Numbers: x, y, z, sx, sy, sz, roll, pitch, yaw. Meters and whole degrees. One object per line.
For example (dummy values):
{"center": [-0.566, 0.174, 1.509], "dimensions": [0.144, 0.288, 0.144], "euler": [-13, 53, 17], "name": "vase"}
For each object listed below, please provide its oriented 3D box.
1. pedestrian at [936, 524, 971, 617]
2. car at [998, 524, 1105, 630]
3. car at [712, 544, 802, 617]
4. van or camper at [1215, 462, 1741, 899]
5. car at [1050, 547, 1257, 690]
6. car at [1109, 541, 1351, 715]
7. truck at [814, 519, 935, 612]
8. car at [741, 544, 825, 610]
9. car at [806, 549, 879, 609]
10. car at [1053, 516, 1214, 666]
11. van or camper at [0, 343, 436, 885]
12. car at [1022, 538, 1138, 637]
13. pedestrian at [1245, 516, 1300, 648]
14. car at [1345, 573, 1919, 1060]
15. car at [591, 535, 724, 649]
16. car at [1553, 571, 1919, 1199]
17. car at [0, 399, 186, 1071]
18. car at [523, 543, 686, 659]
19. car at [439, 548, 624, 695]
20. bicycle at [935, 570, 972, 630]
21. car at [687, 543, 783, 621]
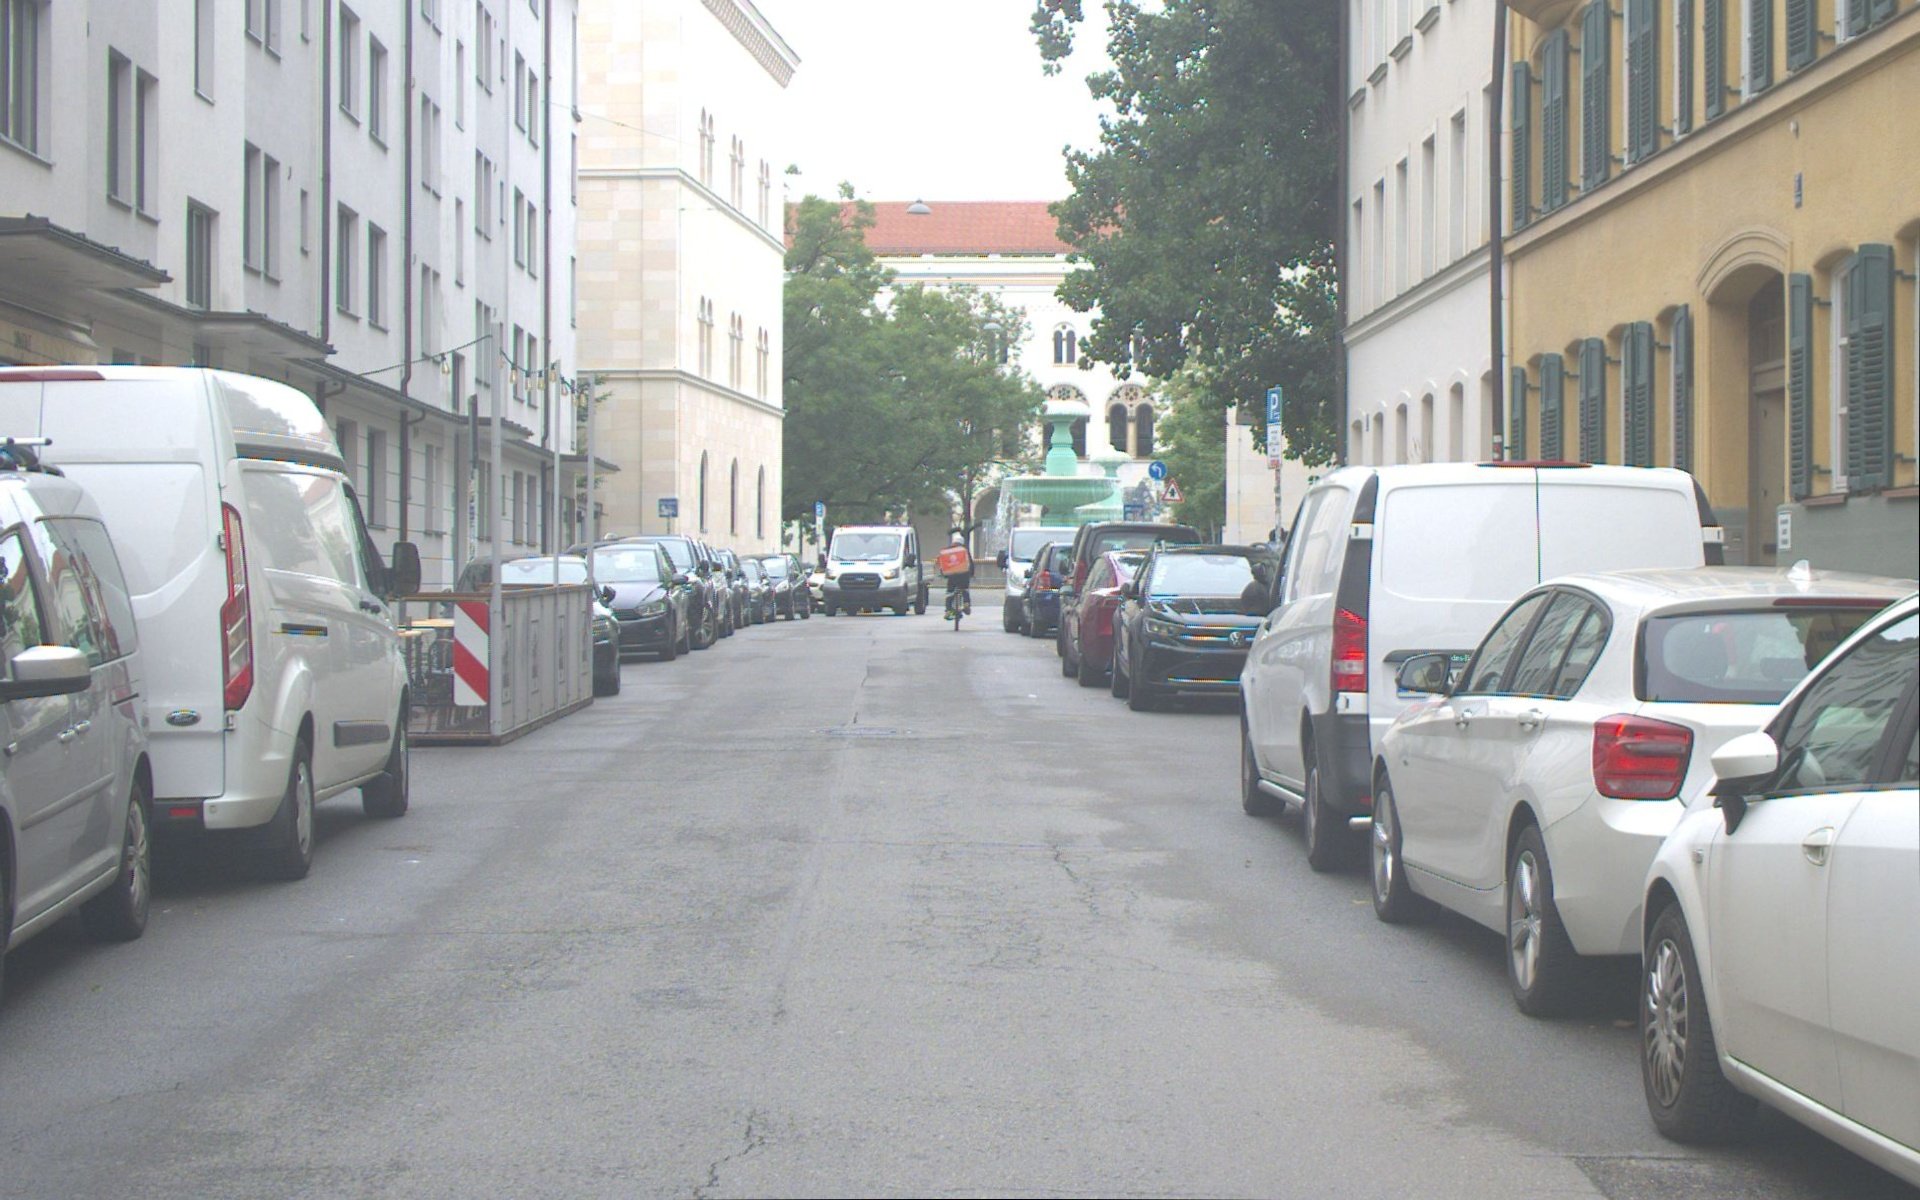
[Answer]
{"center": [-0.116, -0.539, 63.715], "dimensions": [0.642, 1.708, 0.843], "euler": [0, 0, 0], "name": "pedestrian"}
{"center": [1.671, -0.437, 64.225], "dimensions": [1.852, 1.913, 4.769], "euler": [0, 1, 0], "name": "car"}
{"center": [-4.629, -0.468, 78.811], "dimensions": [1.706, 1.604, 3.863], "euler": [-1, 1, 2], "name": "car"}
{"center": [2.417, 0.308, 17.336], "dimensions": [1.833, 1.865, 5.079], "euler": [1, 1, 0], "name": "van or camper"}
{"center": [2.037, 0.167, 37.282], "dimensions": [1.811, 1.420, 4.247], "euler": [1, 1, -2], "name": "car"}
{"center": [2.419, 0.217, 31.762], "dimensions": [1.811, 1.459, 4.247], "euler": [1, 1, -1], "name": "car"}
{"center": [-2.084, -0.829, 85.707], "dimensions": [2.121, 2.240, 6.183], "euler": [0, 0, 7], "name": "truck"}
{"center": [-4.346, -0.578, 84.871], "dimensions": [1.706, 1.575, 3.863], "euler": [-1, 1, 2], "name": "car"}
{"center": [-3.168, -0.582, 93.455], "dimensions": [1.706, 1.575, 3.863], "euler": [-1, 1, 2], "name": "car"}
{"center": [2.184, -0.137, 44.281], "dimensions": [1.812, 1.791, 4.247], "euler": [1, 1, 0], "name": "car"}
{"center": [-3.832, 0.020, 17.114], "dimensions": [1.754, 2.273, 5.274], "euler": [1, 1, -2], "name": "van or camper"}
{"center": [2.002, -0.231, 58.195], "dimensions": [1.812, 1.609, 4.156], "euler": [0, 1, 0], "name": "car"}
{"center": [4.755, -0.271, 52.366], "dimensions": [0.669, 1.974, 0.708], "euler": [-3, 0, 0], "name": "pedestrian"}
{"center": [2.547, 0.620, 12.135], "dimensions": [1.708, 1.388, 4.207], "euler": [1, 1, -3], "name": "car"}
{"center": [-4.441, -0.143, 50.937], "dimensions": [1.706, 1.604, 3.863], "euler": [-1, 1, -1], "name": "car"}
{"center": [2.588, 0.683, 7.445], "dimensions": [1.708, 1.449, 4.097], "euler": [1, 1, -3], "name": "car"}
{"center": [-3.822, 0.373, 11.510], "dimensions": [1.754, 1.988, 4.626], "euler": [1, 1, -5], "name": "car"}
{"center": [-4.632, -0.008, 45.197], "dimensions": [1.817, 1.439, 3.818], "euler": [-1, 1, -1], "name": "car"}
{"center": [-4.453, 0.180, 35.515], "dimensions": [1.761, 1.406, 4.157], "euler": [-1, 1, -8], "name": "car"}
{"center": [-0.112, 0.004, 63.703], "dimensions": [0.675, 1.091, 1.760], "euler": [0, 0, 0], "name": "bicycle"}
{"center": [-4.805, -0.407, 73.916], "dimensions": [1.706, 1.604, 3.863], "euler": [-1, 1, 1], "name": "car"}
